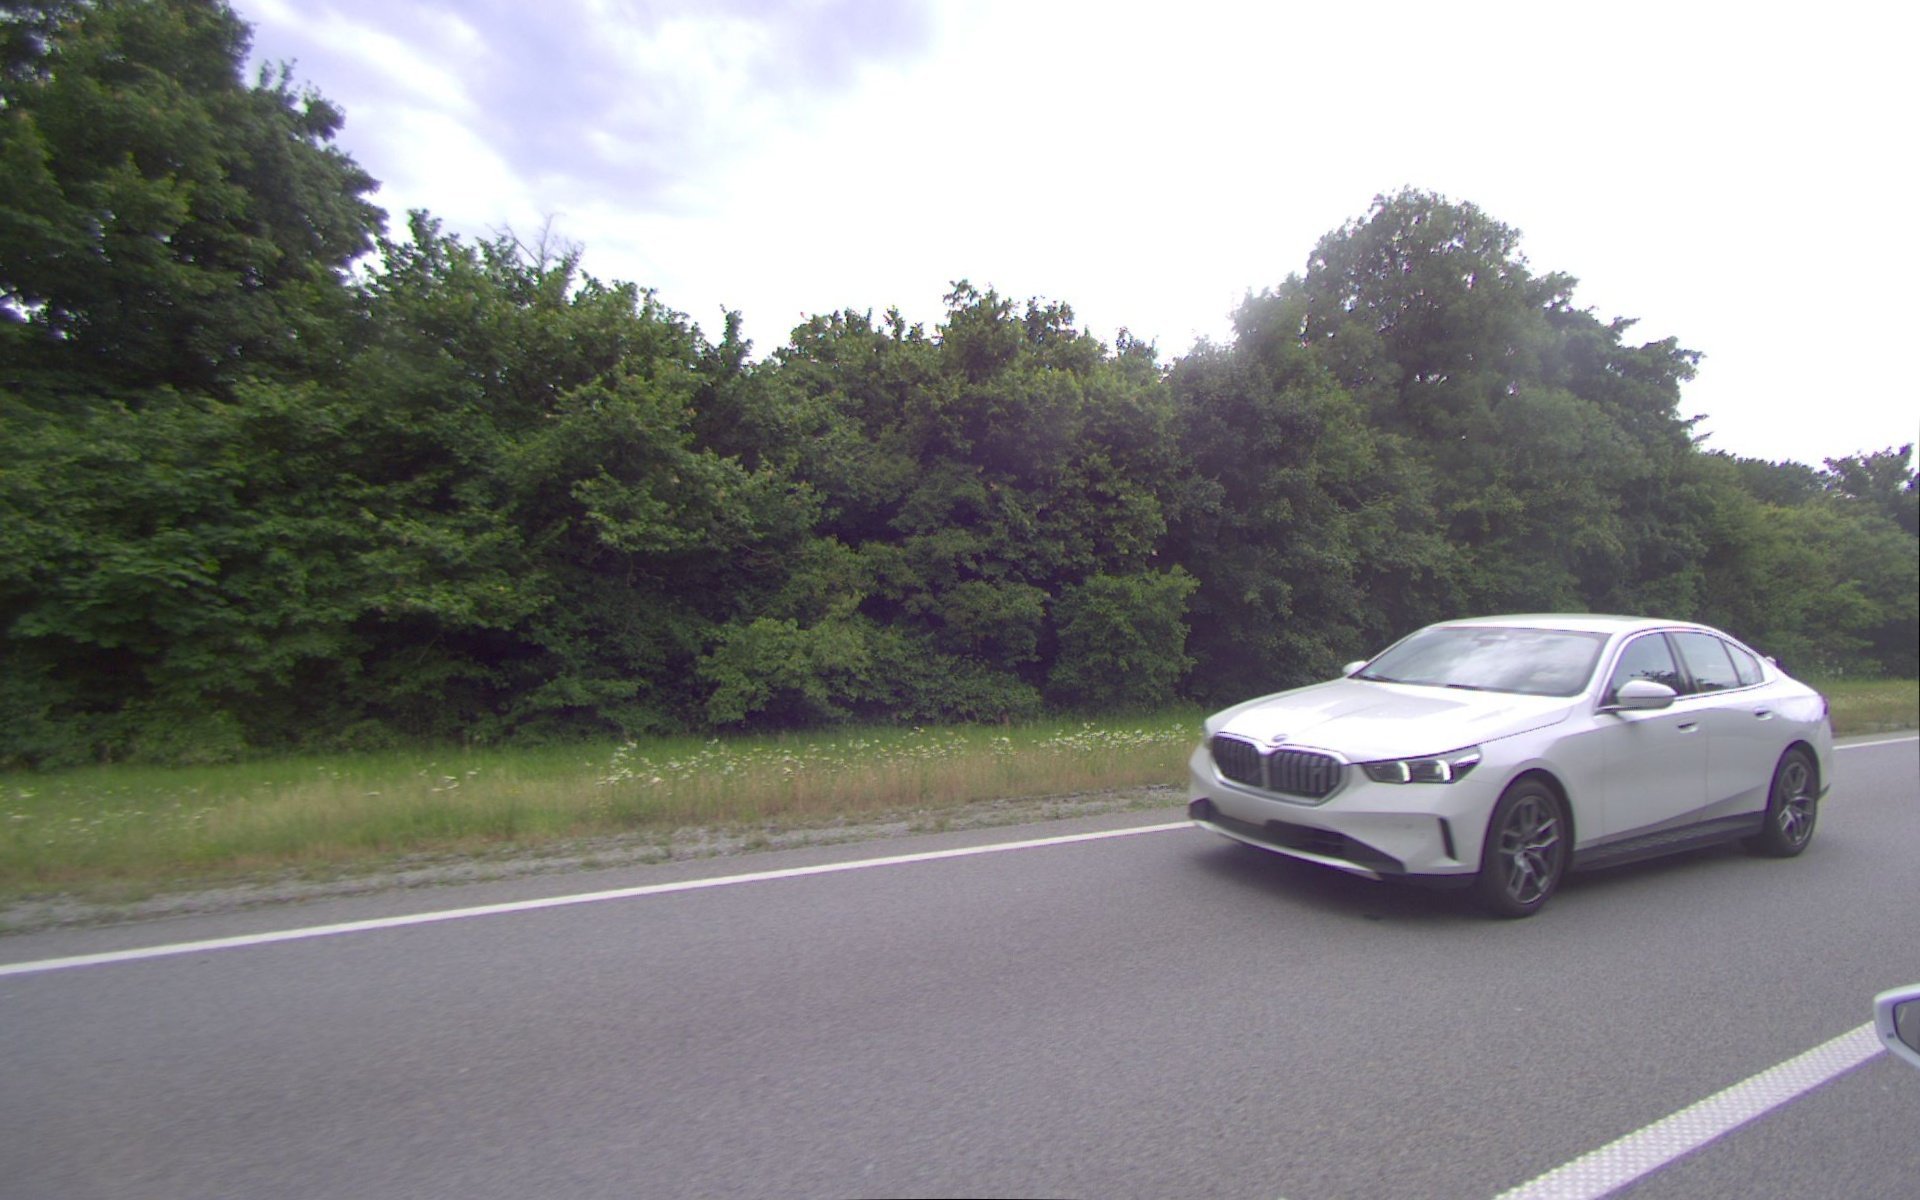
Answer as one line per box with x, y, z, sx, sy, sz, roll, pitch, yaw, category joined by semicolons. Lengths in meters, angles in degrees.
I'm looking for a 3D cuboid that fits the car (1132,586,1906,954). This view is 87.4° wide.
3.854;0.794;6.566;5.388;1.595;1.954;2;0;-30;car
